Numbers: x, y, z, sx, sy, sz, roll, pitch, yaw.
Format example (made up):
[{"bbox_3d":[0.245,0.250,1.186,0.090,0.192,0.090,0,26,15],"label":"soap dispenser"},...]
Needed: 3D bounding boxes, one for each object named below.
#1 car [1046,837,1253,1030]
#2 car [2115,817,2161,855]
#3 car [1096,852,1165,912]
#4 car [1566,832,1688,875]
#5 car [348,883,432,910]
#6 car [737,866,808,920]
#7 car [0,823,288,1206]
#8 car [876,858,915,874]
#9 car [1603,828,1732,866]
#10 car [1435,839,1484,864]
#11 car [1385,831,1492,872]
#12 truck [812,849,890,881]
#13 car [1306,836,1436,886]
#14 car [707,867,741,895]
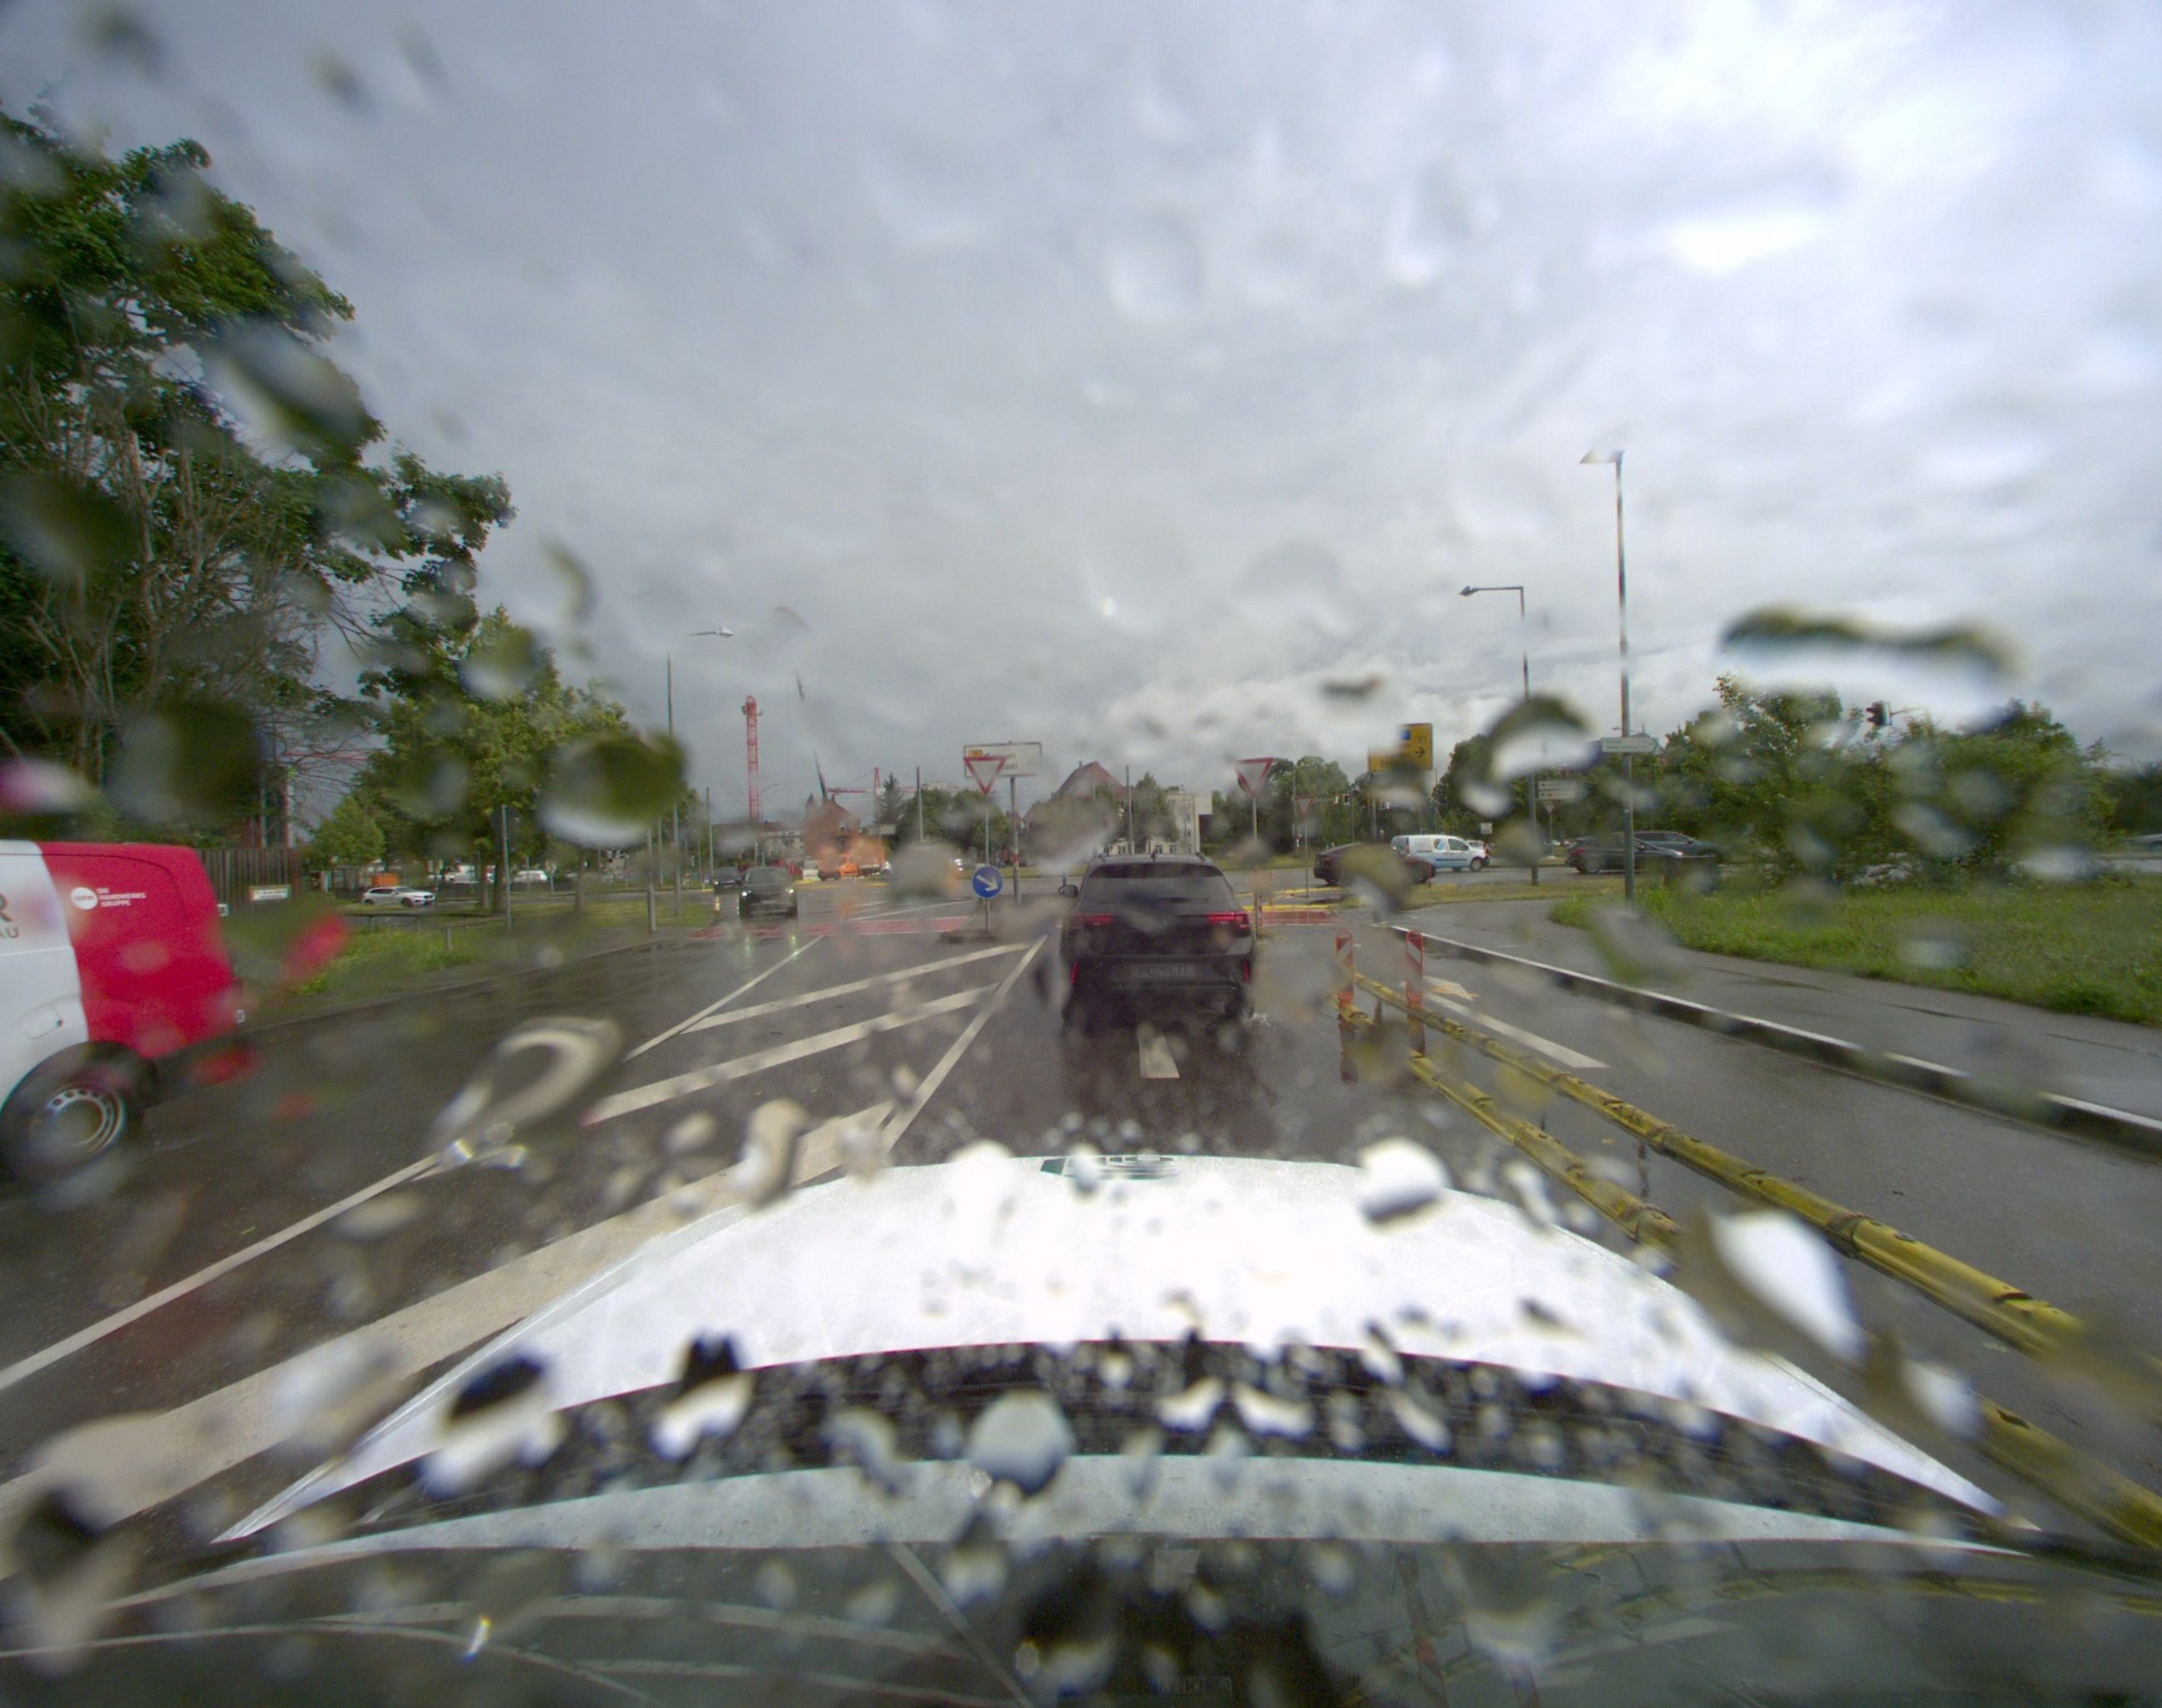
[{"bbox_3d":[0.562,0.671,8.626,1.703,1.574,3.681,-1,0,-1],"label":"car"},{"bbox_3d":[46.920,-0.826,34.152,4.062,1.560,1.926,-2,0,42],"label":"car"},{"bbox_3d":[1.410,0.721,22.812,1.727,1.514,3.608,-2,0,4],"label":"car"},{"bbox_3d":[22.518,-0.021,33.759,3.906,1.644,1.680,-2,0,23],"label":"car"},{"bbox_3d":[-47.874,2.927,56.473,4.384,1.628,1.630,-2,0,-1],"label":"car"},{"bbox_3d":[-10.571,1.267,28.174,1.736,1.664,4.090,-2,0,-14],"label":"car"},{"bbox_3d":[-6.200,0.829,2.910,1.885,1.876,5.124,-3,0,-4],"label":"car"},{"bbox_3d":[-19.063,1.216,83.830,3.521,1.584,1.550,-2,0,-35],"label":"car"},{"bbox_3d":[26.010,-0.304,36.303,4.350,1.548,1.881,-2,0,24],"label":"car"},{"bbox_3d":[30.028,-0.180,64.773,1.987,1.830,4.000,-2,0,1],"label":"car"},{"bbox_3d":[17.183,-0.137,39.210,4.388,1.809,1.864,-2,0,-9],"label":"car"},{"bbox_3d":[-20.959,0.972,74.642,2.299,2.650,7.135,-2,0,33],"label":"truck"},{"bbox_3d":[11.250,0.261,31.828,4.328,1.725,2.000,-2,0,-1],"label":"car"},{"bbox_3d":[-22.317,1.634,50.852,1.575,1.648,3.619,-2,0,-29],"label":"car"}]
